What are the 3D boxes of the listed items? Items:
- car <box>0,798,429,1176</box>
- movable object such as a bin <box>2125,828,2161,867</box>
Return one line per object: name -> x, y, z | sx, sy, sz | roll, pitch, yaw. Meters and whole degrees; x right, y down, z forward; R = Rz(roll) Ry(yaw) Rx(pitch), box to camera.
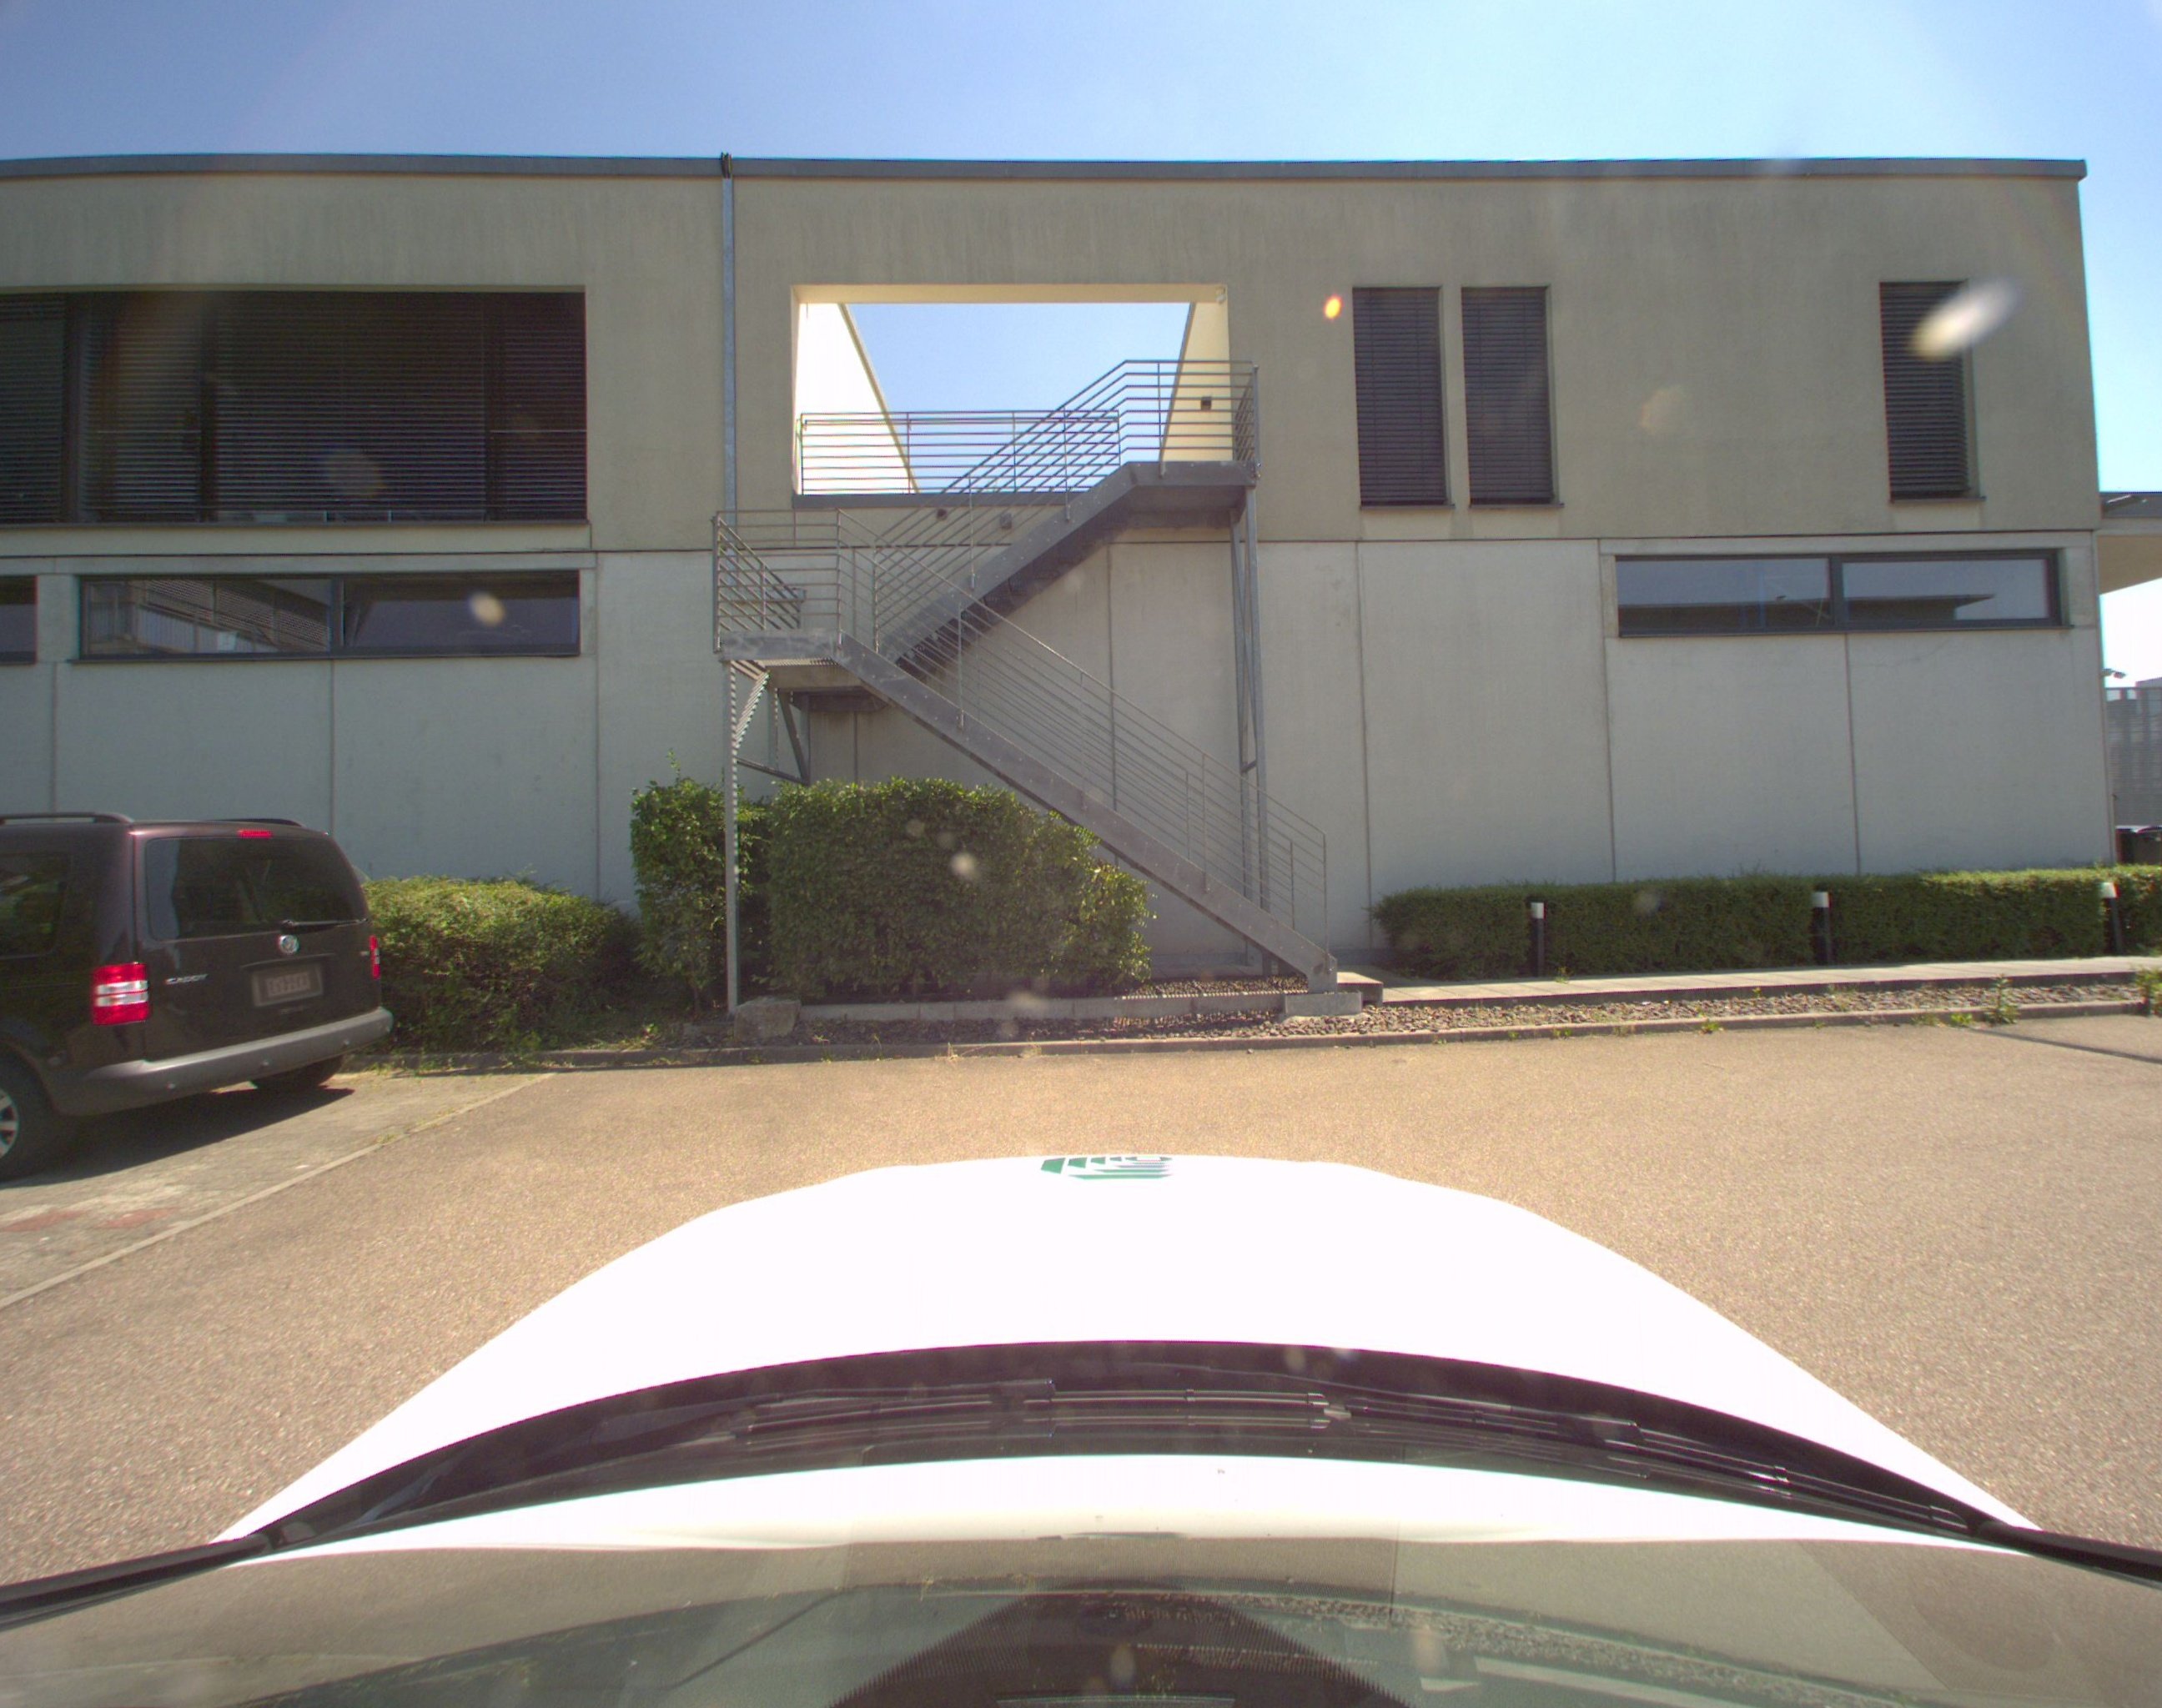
car -> -6.678, 0.713, 4.921 | 4.046, 1.884, 1.678 | -1, -1, -1
movable object such as a bin -> 27.377, -0.163, 20.625 | 0.805, 0.980, 0.817 | -1, -1, -2
